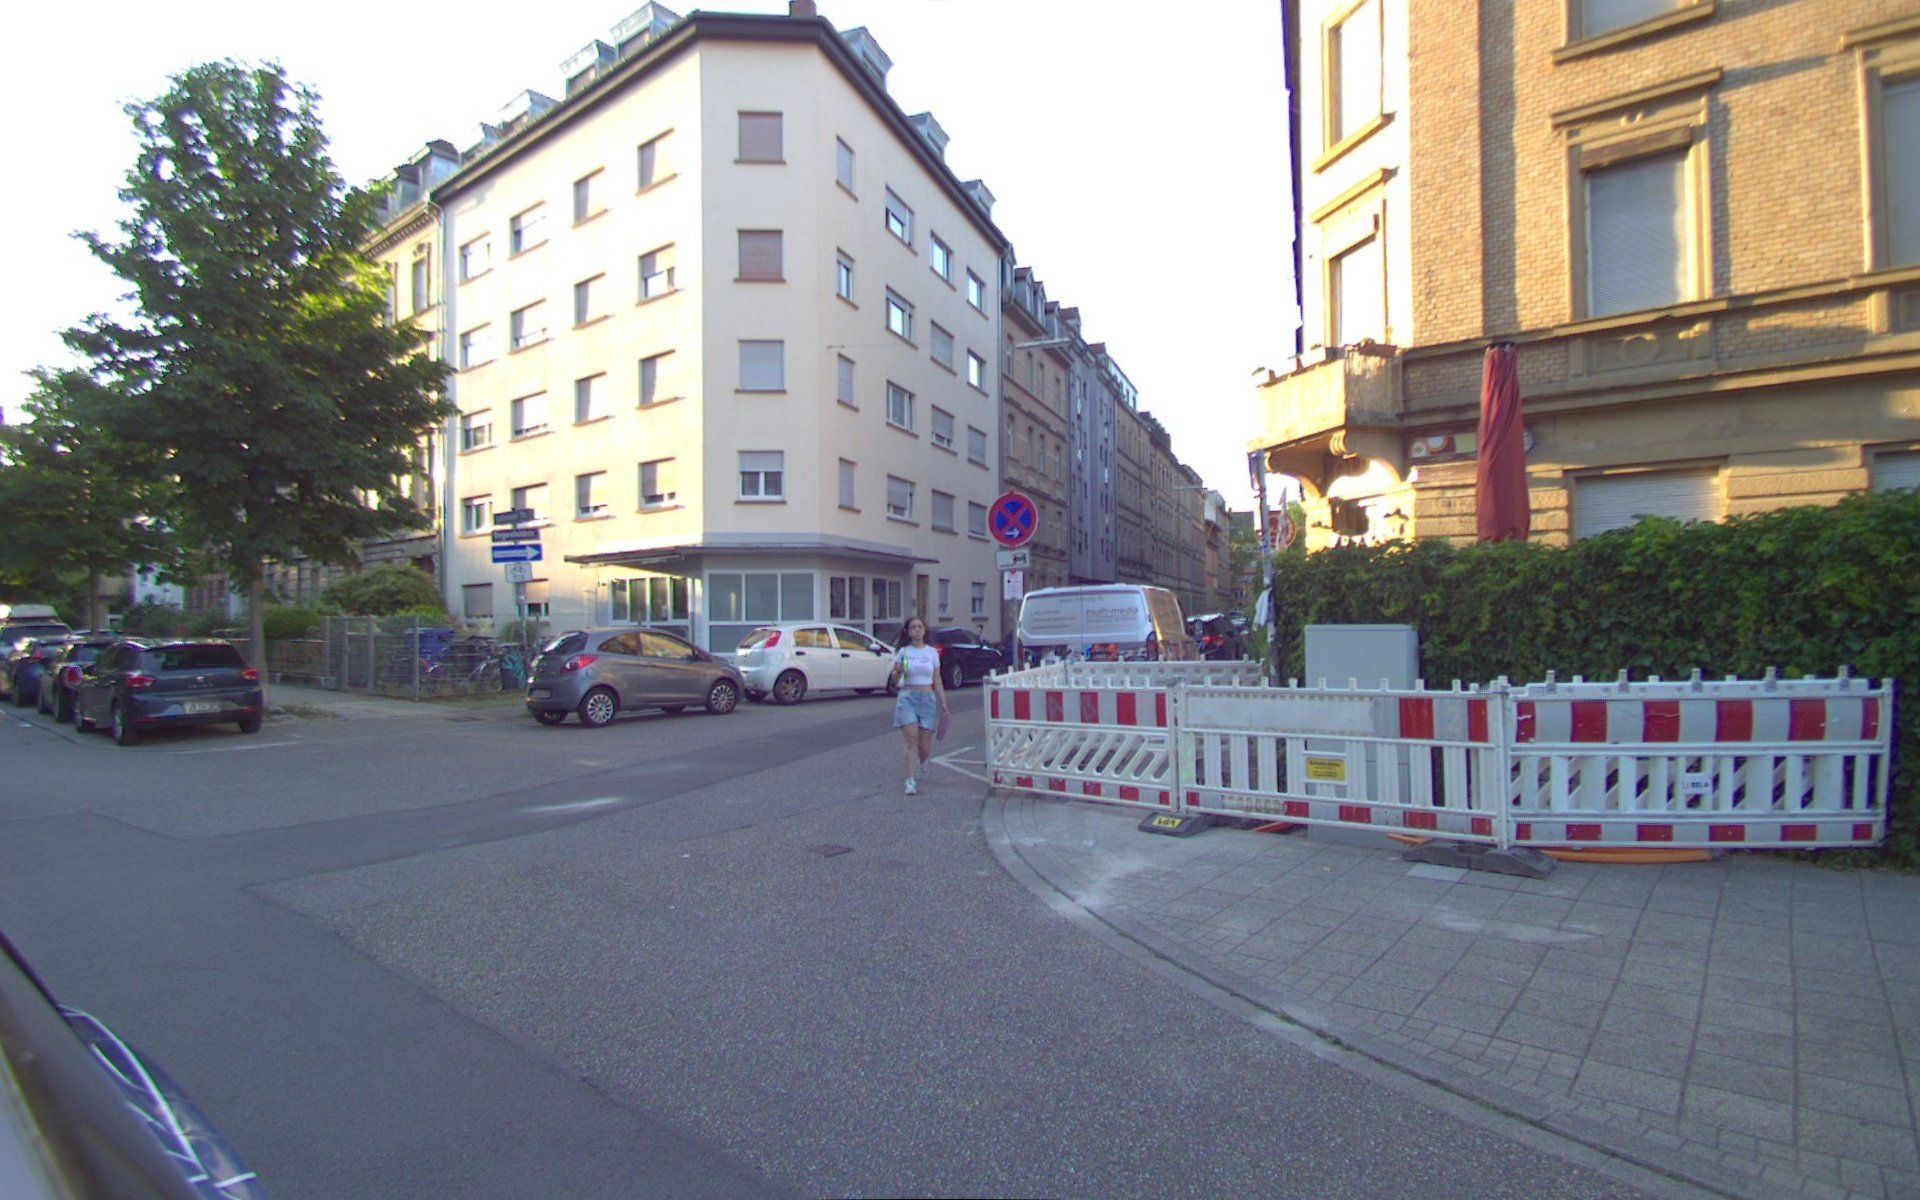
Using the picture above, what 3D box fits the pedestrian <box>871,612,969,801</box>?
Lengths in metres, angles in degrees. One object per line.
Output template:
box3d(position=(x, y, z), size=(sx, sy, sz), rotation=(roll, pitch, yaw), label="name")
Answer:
box3d(position=(-0.351, 0.943, 9.254), size=(0.704, 1.630, 0.784), rotation=(-2, 0, 11), label="pedestrian")

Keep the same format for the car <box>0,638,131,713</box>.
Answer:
box3d(position=(-19.906, 1.567, 22.180), size=(4.586, 1.423, 1.843), rotation=(-2, -1, 40), label="car")

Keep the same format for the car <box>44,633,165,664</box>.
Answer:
box3d(position=(-41.918, 2.335, 49.667), size=(1.625, 1.351, 4.356), rotation=(-2, -1, 41), label="car")

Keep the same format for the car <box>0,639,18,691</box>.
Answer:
box3d(position=(-28.705, 1.867, 29.178), size=(4.020, 1.452, 1.711), rotation=(-2, -1, 39), label="car")

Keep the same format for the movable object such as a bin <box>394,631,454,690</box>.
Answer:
box3d(position=(-13.085, 1.457, 24.713), size=(1.398, 1.362, 0.857), rotation=(-2, 0, 42), label="movable object such as a bin")

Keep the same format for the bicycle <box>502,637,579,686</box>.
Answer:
box3d(position=(-10.012, 1.464, 24.175), size=(1.689, 1.100, 0.384), rotation=(-2, 0, 4), label="bicycle")

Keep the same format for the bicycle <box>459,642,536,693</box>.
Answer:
box3d(position=(-10.609, 1.546, 23.243), size=(1.528, 1.100, 0.500), rotation=(-2, 0, 3), label="bicycle")

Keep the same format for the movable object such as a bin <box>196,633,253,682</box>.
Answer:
box3d(position=(-21.826, 1.687, 30.033), size=(1.549, 1.398, 0.937), rotation=(-2, 0, 37), label="movable object such as a bin")

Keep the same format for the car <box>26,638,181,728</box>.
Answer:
box3d(position=(-15.915, 1.444, 18.736), size=(4.142, 1.431, 1.723), rotation=(-2, -1, 43), label="car")

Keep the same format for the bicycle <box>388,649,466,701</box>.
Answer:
box3d(position=(-11.556, 1.596, 21.910), size=(1.927, 1.033, 0.681), rotation=(-2, 0, 35), label="bicycle")

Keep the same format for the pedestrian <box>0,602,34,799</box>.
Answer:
box3d(position=(-8.925, 0.900, 8.781), size=(0.881, 1.735, 0.956), rotation=(-2, 0, 8), label="pedestrian")

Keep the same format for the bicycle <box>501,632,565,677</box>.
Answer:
box3d(position=(-11.349, 1.446, 26.907), size=(0.499, 1.100, 1.531), rotation=(-2, 0, 34), label="bicycle")

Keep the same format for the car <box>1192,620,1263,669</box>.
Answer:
box3d(position=(8.572, 1.383, 32.268), size=(1.830, 1.438, 3.973), rotation=(-2, -2, 20), label="car")

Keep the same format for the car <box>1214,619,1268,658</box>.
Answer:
box3d(position=(11.463, 1.558, 41.145), size=(1.774, 1.470, 3.973), rotation=(-2, -2, 20), label="car")

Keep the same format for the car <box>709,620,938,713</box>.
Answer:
box3d(position=(-2.651, 1.221, 20.009), size=(4.007, 1.520, 1.978), rotation=(-2, 0, -37), label="car")

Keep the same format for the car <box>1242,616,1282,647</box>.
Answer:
box3d(position=(16.165, 1.655, 54.016), size=(1.875, 1.569, 3.975), rotation=(-2, -2, 19), label="car")

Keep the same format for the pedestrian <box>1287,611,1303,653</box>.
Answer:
box3d(position=(14.521, 1.385, 43.836), size=(0.589, 1.820, 0.495), rotation=(-2, 0, 18), label="pedestrian")

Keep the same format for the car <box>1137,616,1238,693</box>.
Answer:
box3d(position=(5.251, 1.190, 23.006), size=(2.005, 1.583, 3.898), rotation=(-2, -2, 16), label="car")

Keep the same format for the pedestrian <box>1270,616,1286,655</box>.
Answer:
box3d(position=(13.869, 1.545, 44.126), size=(0.589, 1.699, 0.495), rotation=(-2, 0, 18), label="pedestrian")

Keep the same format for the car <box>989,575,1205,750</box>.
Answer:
box3d(position=(2.175, 0.790, 14.374), size=(2.190, 1.990, 5.264), rotation=(-2, -2, 17), label="car")

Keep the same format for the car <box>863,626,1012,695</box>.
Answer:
box3d(position=(-0.428, 1.363, 23.797), size=(1.986, 1.450, 4.046), rotation=(-2, -2, 24), label="car")

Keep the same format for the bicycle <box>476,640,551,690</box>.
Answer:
box3d(position=(-10.480, 1.524, 23.755), size=(1.528, 1.100, 0.500), rotation=(-2, 0, 3), label="bicycle")

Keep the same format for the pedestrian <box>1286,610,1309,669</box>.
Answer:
box3d(position=(9.820, 1.143, 29.457), size=(0.589, 1.699, 0.495), rotation=(-2, 0, 18), label="pedestrian")

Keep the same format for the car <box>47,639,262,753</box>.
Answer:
box3d(position=(-12.452, 1.358, 15.549), size=(4.458, 1.473, 1.658), rotation=(-2, -1, 39), label="car")

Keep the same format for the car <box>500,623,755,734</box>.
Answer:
box3d(position=(-5.299, 1.191, 16.396), size=(1.843, 1.519, 3.471), rotation=(-3, -2, 40), label="car")

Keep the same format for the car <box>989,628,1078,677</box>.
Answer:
box3d(position=(2.379, 1.621, 31.835), size=(1.860, 1.419, 3.976), rotation=(-2, -2, 18), label="car")

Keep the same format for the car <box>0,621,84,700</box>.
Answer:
box3d(position=(-23.709, 1.475, 25.439), size=(4.619, 1.792, 1.843), rotation=(-2, -1, 40), label="car")

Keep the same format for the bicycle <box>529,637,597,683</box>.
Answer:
box3d(position=(-10.267, 1.541, 26.219), size=(0.499, 1.100, 1.617), rotation=(-2, 0, 34), label="bicycle")
